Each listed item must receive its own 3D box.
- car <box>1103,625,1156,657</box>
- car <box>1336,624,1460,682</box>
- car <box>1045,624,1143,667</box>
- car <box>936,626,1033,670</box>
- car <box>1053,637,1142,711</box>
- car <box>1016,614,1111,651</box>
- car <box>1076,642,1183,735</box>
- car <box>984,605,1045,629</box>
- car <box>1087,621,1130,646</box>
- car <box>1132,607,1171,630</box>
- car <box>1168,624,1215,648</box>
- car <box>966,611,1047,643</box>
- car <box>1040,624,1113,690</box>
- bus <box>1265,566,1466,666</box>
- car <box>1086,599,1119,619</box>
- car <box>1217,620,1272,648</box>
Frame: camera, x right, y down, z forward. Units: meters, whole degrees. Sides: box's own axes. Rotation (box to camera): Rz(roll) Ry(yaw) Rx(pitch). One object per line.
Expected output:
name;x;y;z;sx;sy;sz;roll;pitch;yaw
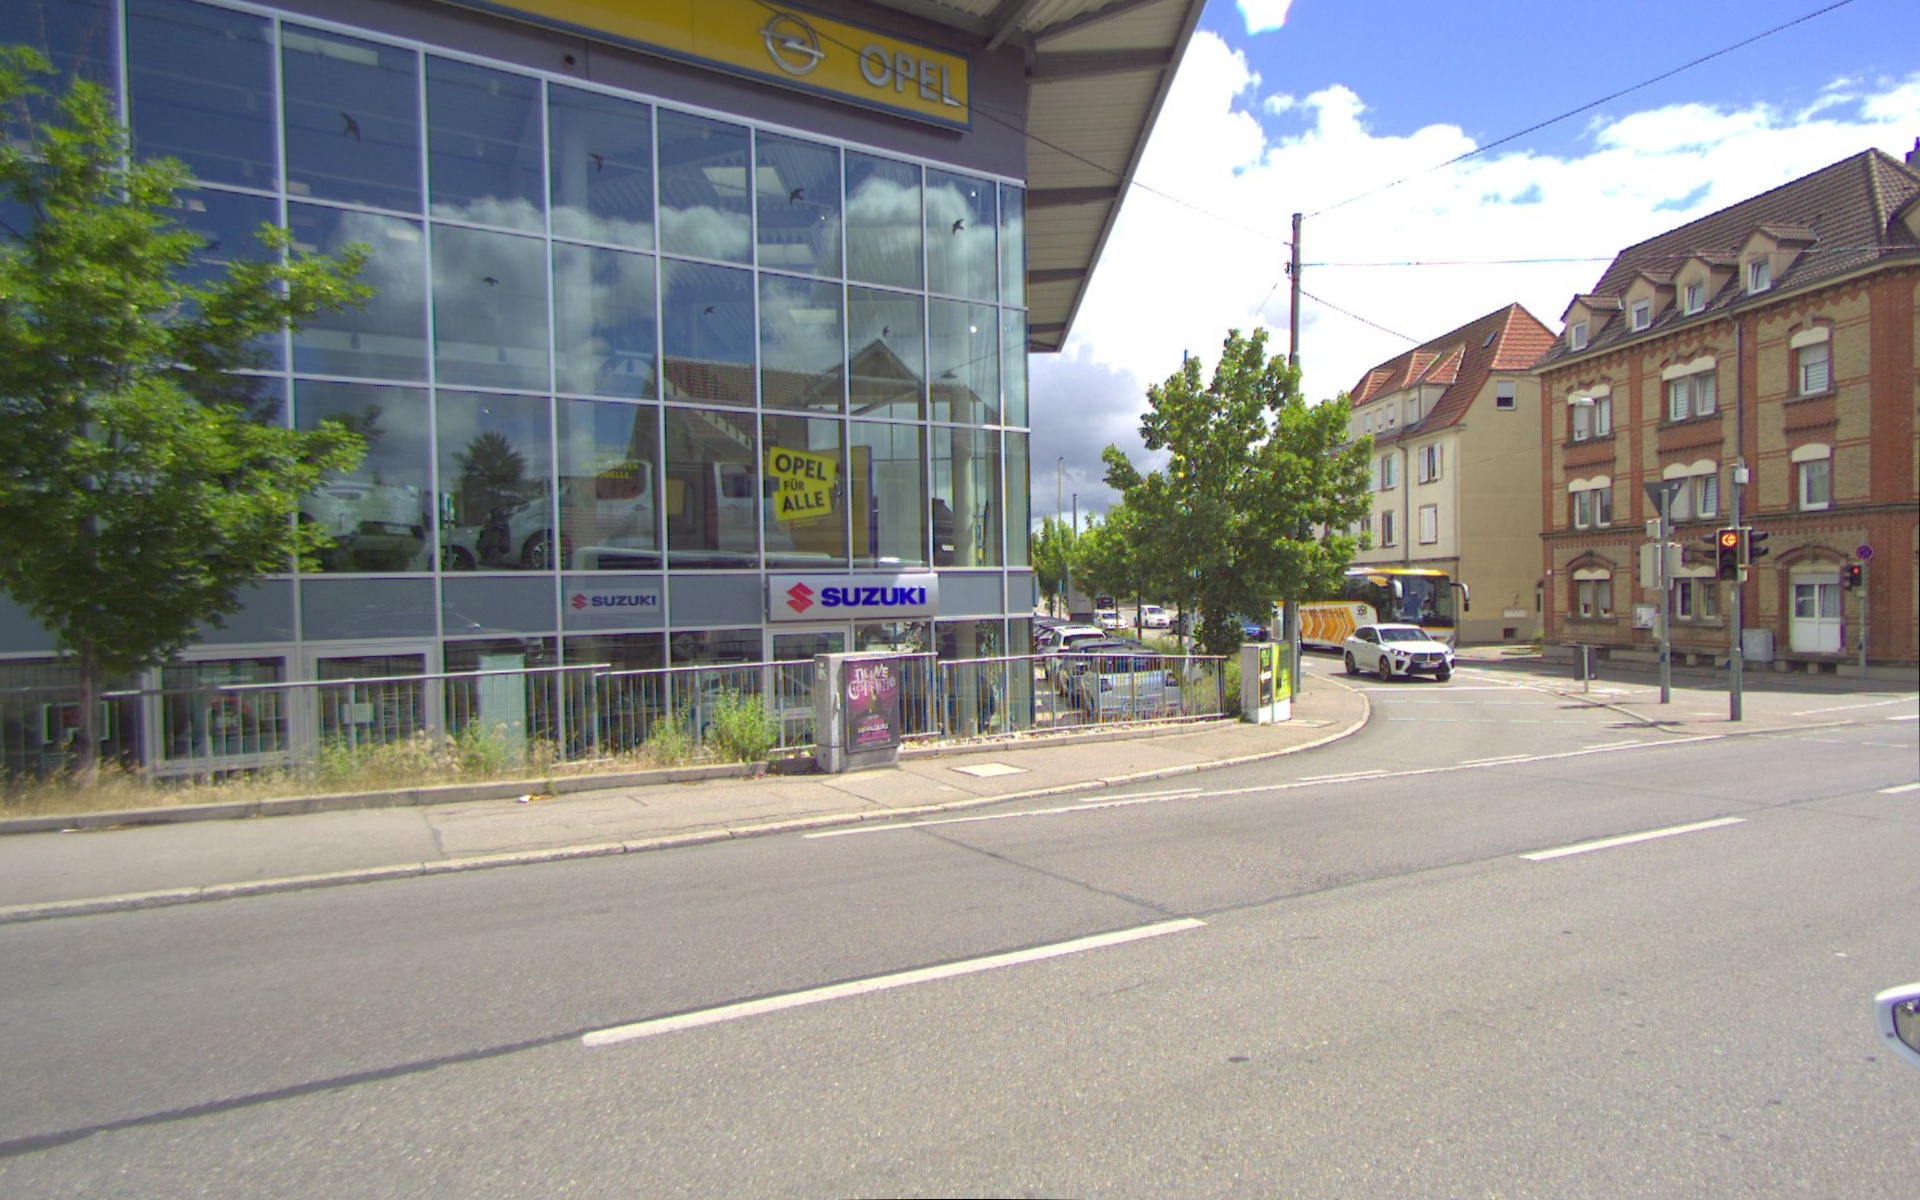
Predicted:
car;8.226;1.968;49.038;1.766;1.467;3.498;1;-1;-5
car;12.899;1.521;29.871;1.797;1.572;4.307;-1;-1;0
car;4.944;1.683;37.428;3.430;1.497;1.800;1;-1;1
car;0.860;1.737;36.897;3.432;1.467;1.799;-1;0;-3
car;3.289;1.740;24.542;1.584;1.547;3.499;-1;0;-2
car;4.615;1.436;45.163;3.925;1.574;1.806;1;-1;-7
car;3.352;1.718;20.375;1.648;1.582;3.365;-1;0;1
car;3.624;1.148;67.384;3.922;1.574;1.807;1;-1;-1
car;9.684;2.163;65.738;1.823;1.617;3.996;1;-1;-6
car;13.618;1.326;71.540;1.874;1.574;3.999;1;-1;-2
car;14.468;2.221;63.040;1.874;1.428;3.999;1;-1;-2
car;2.398;1.405;52.726;3.930;1.574;1.804;1;-1;-12
car;3.330;1.607;29.223;1.620;1.703;3.499;-1;0;-2
bus;16.877;0.515;43.306;2.719;3.670;12.253;1;1;-5
car;13.121;0.835;92.625;1.793;1.773;3.993;1;-1;-10
car;15.761;1.859;55.782;1.717;1.428;3.999;1;-1;-3
